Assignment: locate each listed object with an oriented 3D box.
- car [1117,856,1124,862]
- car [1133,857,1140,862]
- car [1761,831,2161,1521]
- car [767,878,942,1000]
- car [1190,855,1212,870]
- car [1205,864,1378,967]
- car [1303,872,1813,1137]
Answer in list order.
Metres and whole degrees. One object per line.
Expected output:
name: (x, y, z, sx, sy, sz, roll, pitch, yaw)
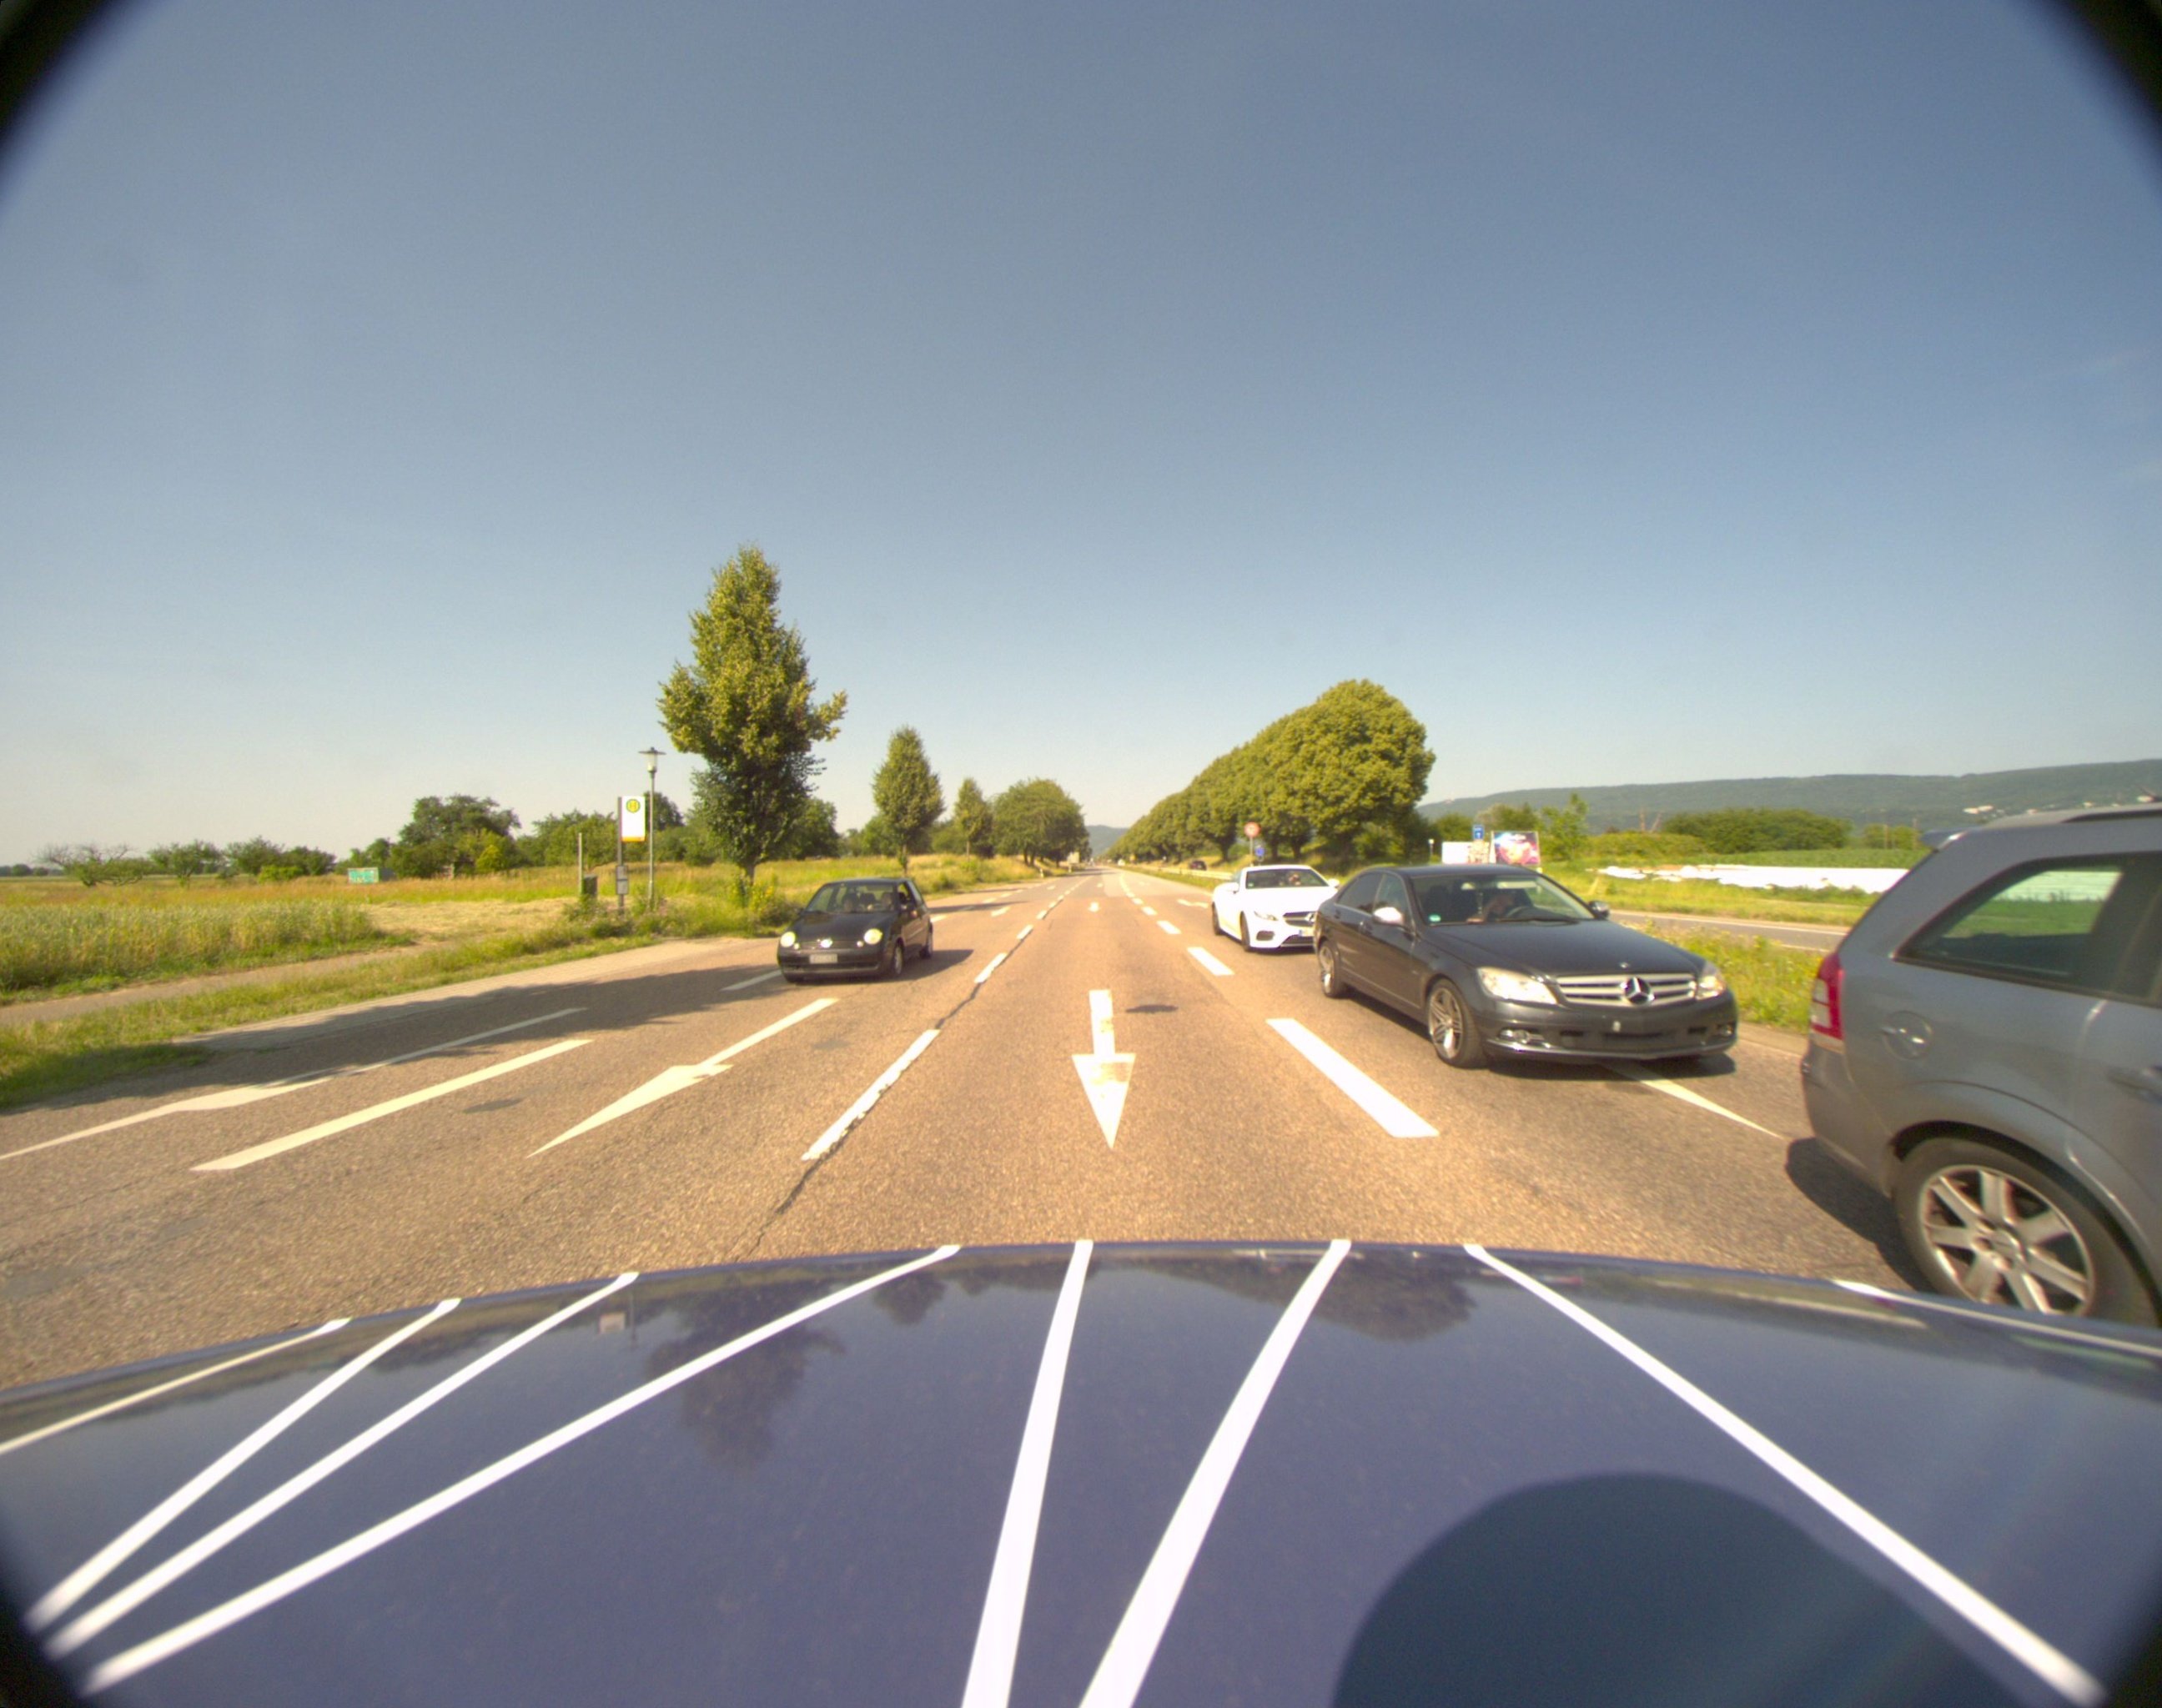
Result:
car: (12.401, 1.507, 237.473, 1.998, 1.791, 4.001, -1, 0, 2)
car: (17.076, 1.683, 233.879, 1.726, 1.455, 3.701, 0, 0, 2)
car: (3.440, 0.749, 0.700, 1.745, 1.662, 4.357, -2, 0, 1)
car: (-3.306, 1.173, 11.787, 1.629, 1.425, 3.622, -2, 0, -1)
car: (15.433, 1.043, 97.845, 1.998, 1.830, 4.954, 2, 0, 1)
car: (3.484, 0.933, 13.509, 1.808, 1.417, 4.641, -2, 0, 1)
car: (3.402, 0.926, 6.584, 1.718, 1.402, 4.355, -2, 0, 1)
